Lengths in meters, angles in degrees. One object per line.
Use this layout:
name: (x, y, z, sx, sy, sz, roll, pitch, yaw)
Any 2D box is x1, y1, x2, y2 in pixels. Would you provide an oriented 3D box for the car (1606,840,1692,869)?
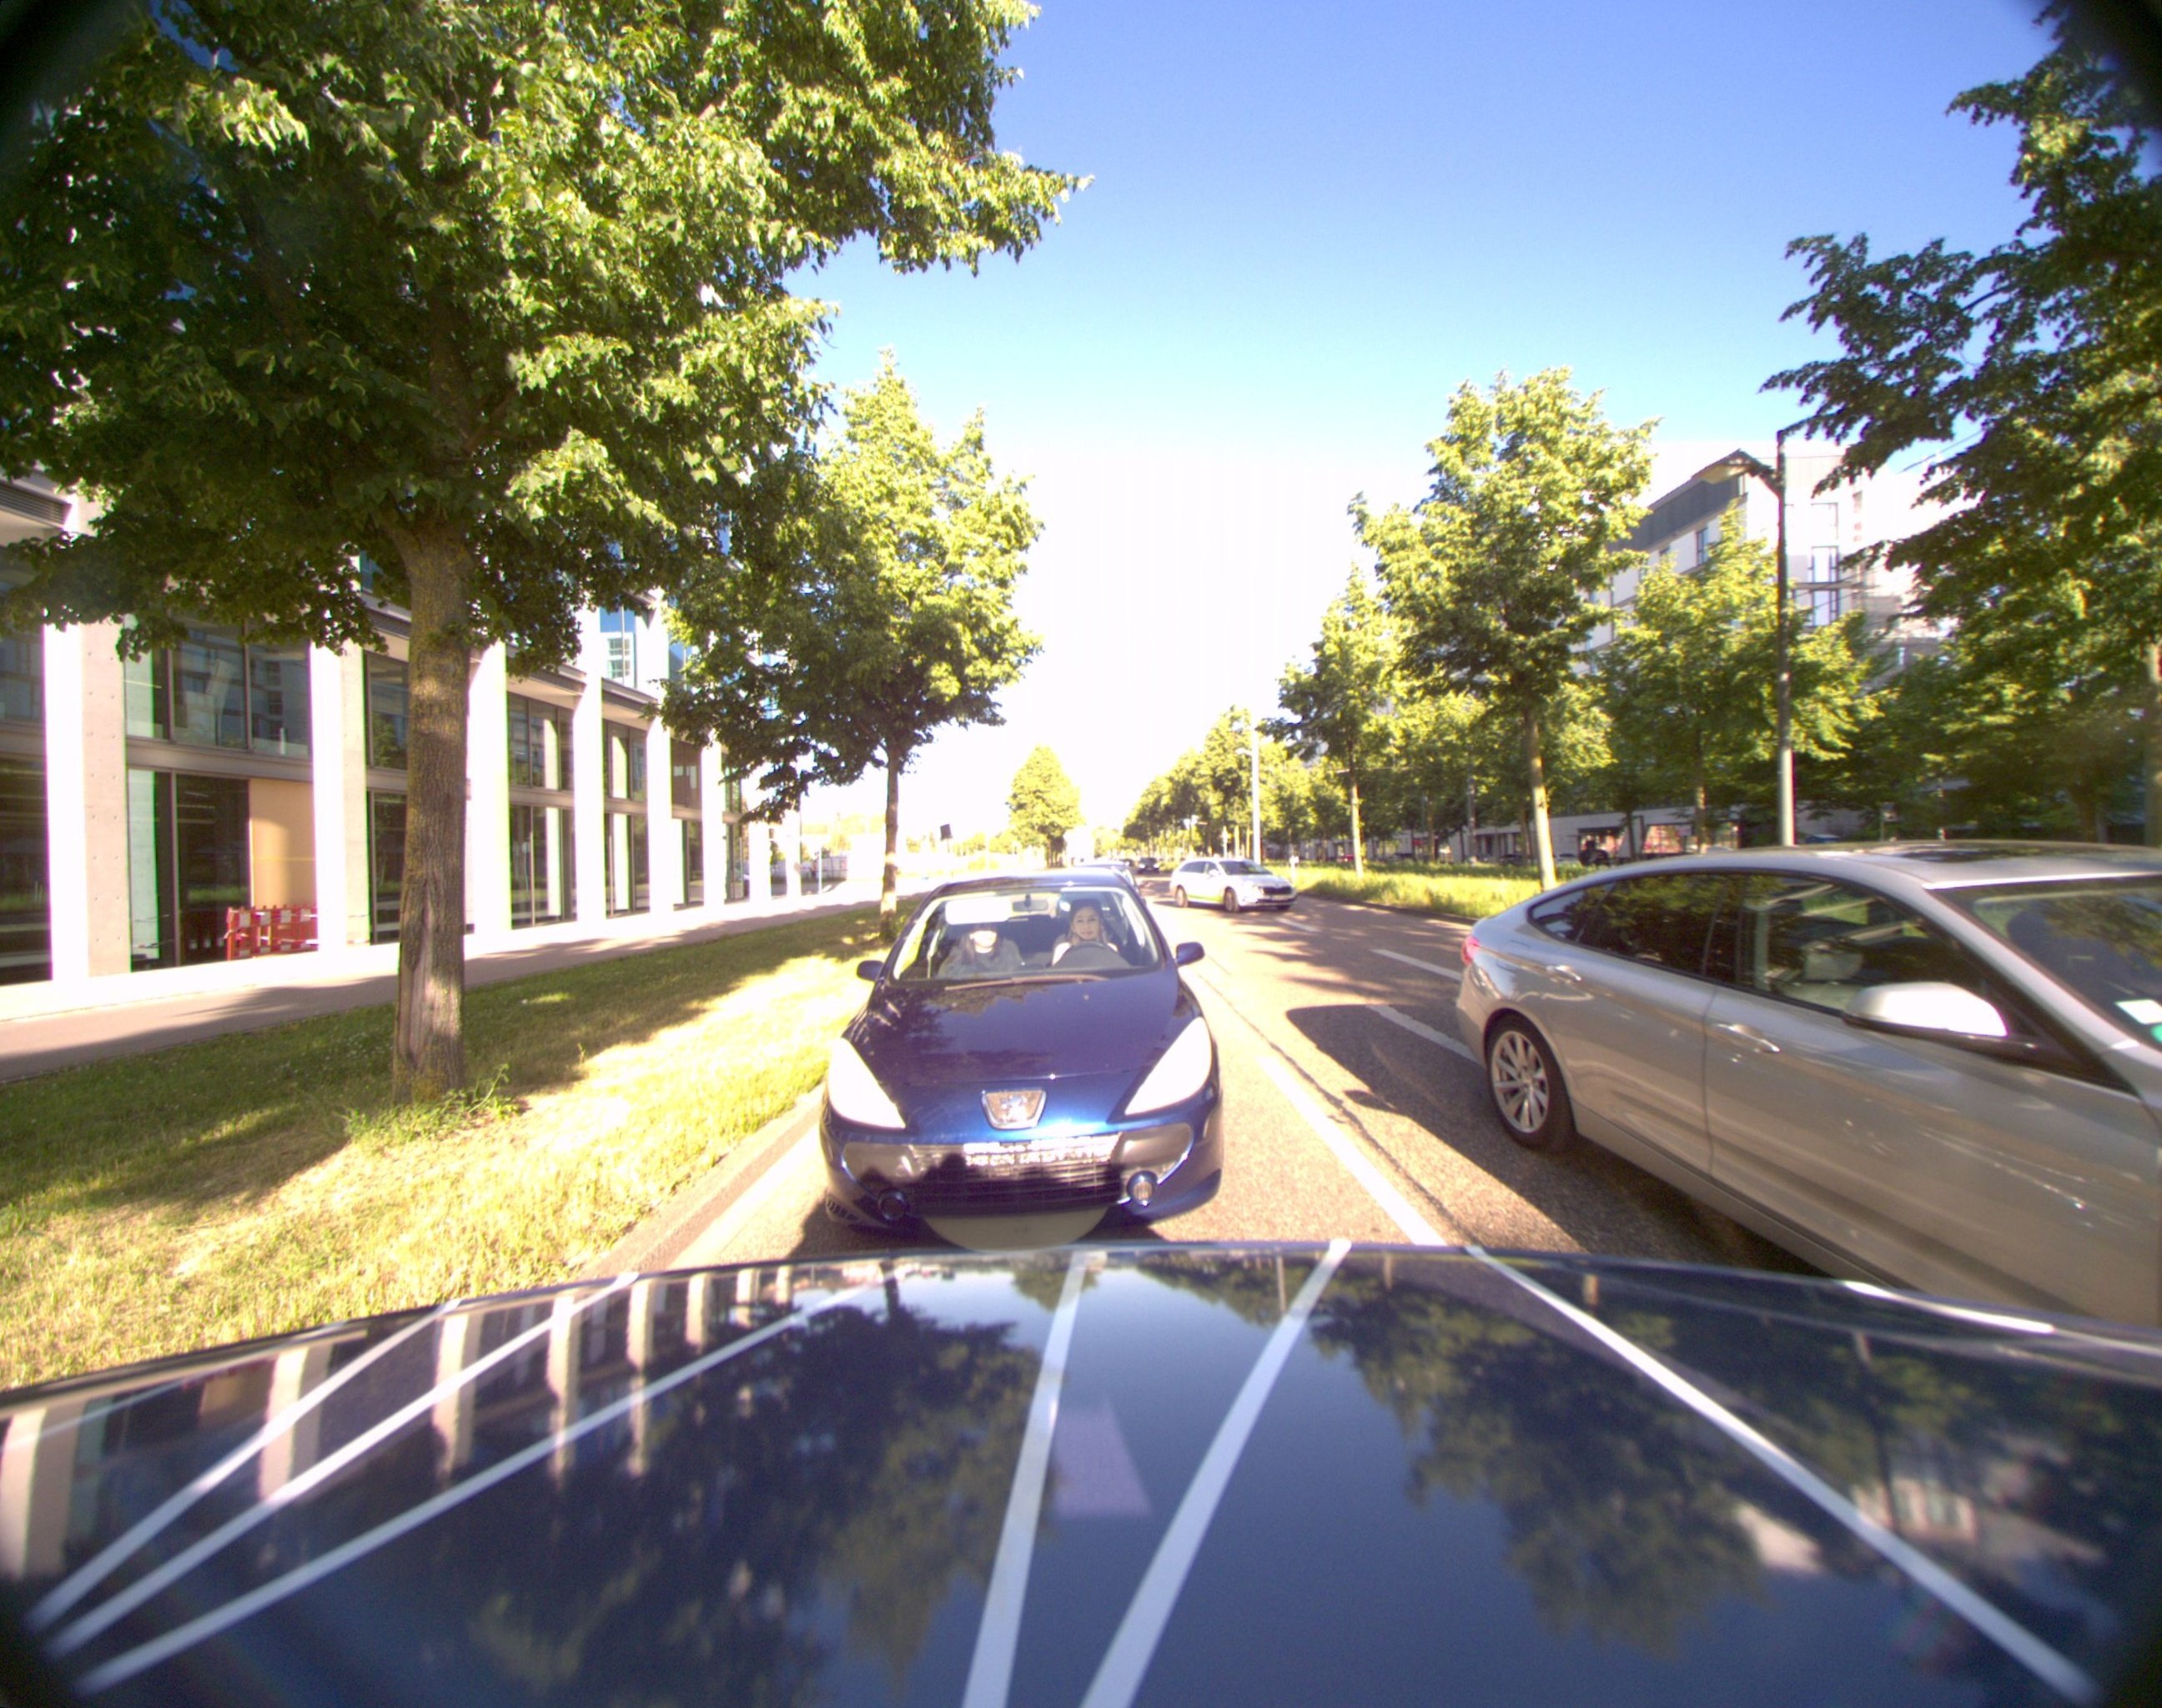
car: (33.549, 0.039, 45.022, 1.951, 1.588, 4.184, -1, 0, 1)

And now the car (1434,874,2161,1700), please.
car: (2.997, 0.885, 2.179, 1.824, 1.476, 4.560, -1, 0, 0)

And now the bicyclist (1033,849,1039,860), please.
bicyclist: (-8.481, 0.153, 143.957, 0.931, 2.045, 1.121, -1, 1, 1)

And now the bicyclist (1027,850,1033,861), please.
bicyclist: (-9.650, 0.229, 143.756, 0.931, 2.045, 1.121, -1, 1, 1)

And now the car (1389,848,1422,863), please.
car: (35.436, 0.149, 83.099, 1.884, 1.588, 4.184, -1, 0, 1)

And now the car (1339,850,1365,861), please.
car: (36.088, 0.191, 101.204, 1.998, 1.387, 4.000, -1, 0, 1)

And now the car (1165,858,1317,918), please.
car: (4.253, 0.851, 21.066, 1.807, 1.439, 4.560, -2, 0, -23)

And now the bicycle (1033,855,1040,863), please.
bicycle: (-8.461, 0.911, 144.054, 0.931, 1.355, 4.000, -1, 0, 1)

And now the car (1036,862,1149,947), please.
car: (0.239, 0.931, 16.018, 1.998, 1.437, 4.622, -1, 0, 1)

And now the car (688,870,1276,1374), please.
car: (-0.290, 0.914, 4.680, 1.846, 1.473, 4.481, -2, 0, 1)

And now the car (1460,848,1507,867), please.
car: (35.149, 0.325, 66.510, 1.884, 1.588, 4.184, -1, 0, 1)

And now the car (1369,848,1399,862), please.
car: (35.494, 0.090, 89.020, 1.884, 1.588, 4.184, -1, 0, 1)

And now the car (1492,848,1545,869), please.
car: (35.183, 0.372, 61.227, 1.884, 1.588, 4.184, -1, 0, 1)

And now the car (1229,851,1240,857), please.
car: (36.103, 0.073, 179.227, 1.998, 1.387, 4.001, -1, 0, 4)

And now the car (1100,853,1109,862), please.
car: (4.480, 0.678, 144.251, 1.724, 1.516, 4.000, -1, 0, 1)

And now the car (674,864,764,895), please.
car: (-20.046, 1.418, 42.144, 3.996, 1.569, 2.000, -1, 0, 3)

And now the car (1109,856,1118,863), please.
car: (7.756, 1.354, 181.263, 1.878, 1.577, 4.344, -1, 0, 2)

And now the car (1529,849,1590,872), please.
car: (34.896, 0.443, 55.566, 1.884, 1.588, 4.184, -1, 0, 1)

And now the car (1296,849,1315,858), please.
car: (36.601, -0.059, 124.149, 1.998, 1.387, 4.000, -1, 0, 1)

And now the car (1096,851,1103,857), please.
car: (5.015, 0.097, 203.398, 1.878, 1.561, 4.344, -1, 0, 2)

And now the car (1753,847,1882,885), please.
car: (34.082, 0.518, 35.348, 1.951, 1.588, 4.184, -1, 0, 1)

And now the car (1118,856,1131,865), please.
car: (6.830, 0.996, 119.176, 1.878, 1.415, 4.344, -1, 0, 2)

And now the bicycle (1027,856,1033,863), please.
bicycle: (-9.640, 0.989, 143.746, 0.931, 1.355, 4.000, -1, 0, 1)

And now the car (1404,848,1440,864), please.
car: (35.024, 0.222, 78.192, 1.884, 1.588, 4.184, -1, 0, 1)

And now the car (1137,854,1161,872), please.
car: (6.195, 0.799, 69.565, 1.861, 1.482, 4.000, -1, 0, 1)
